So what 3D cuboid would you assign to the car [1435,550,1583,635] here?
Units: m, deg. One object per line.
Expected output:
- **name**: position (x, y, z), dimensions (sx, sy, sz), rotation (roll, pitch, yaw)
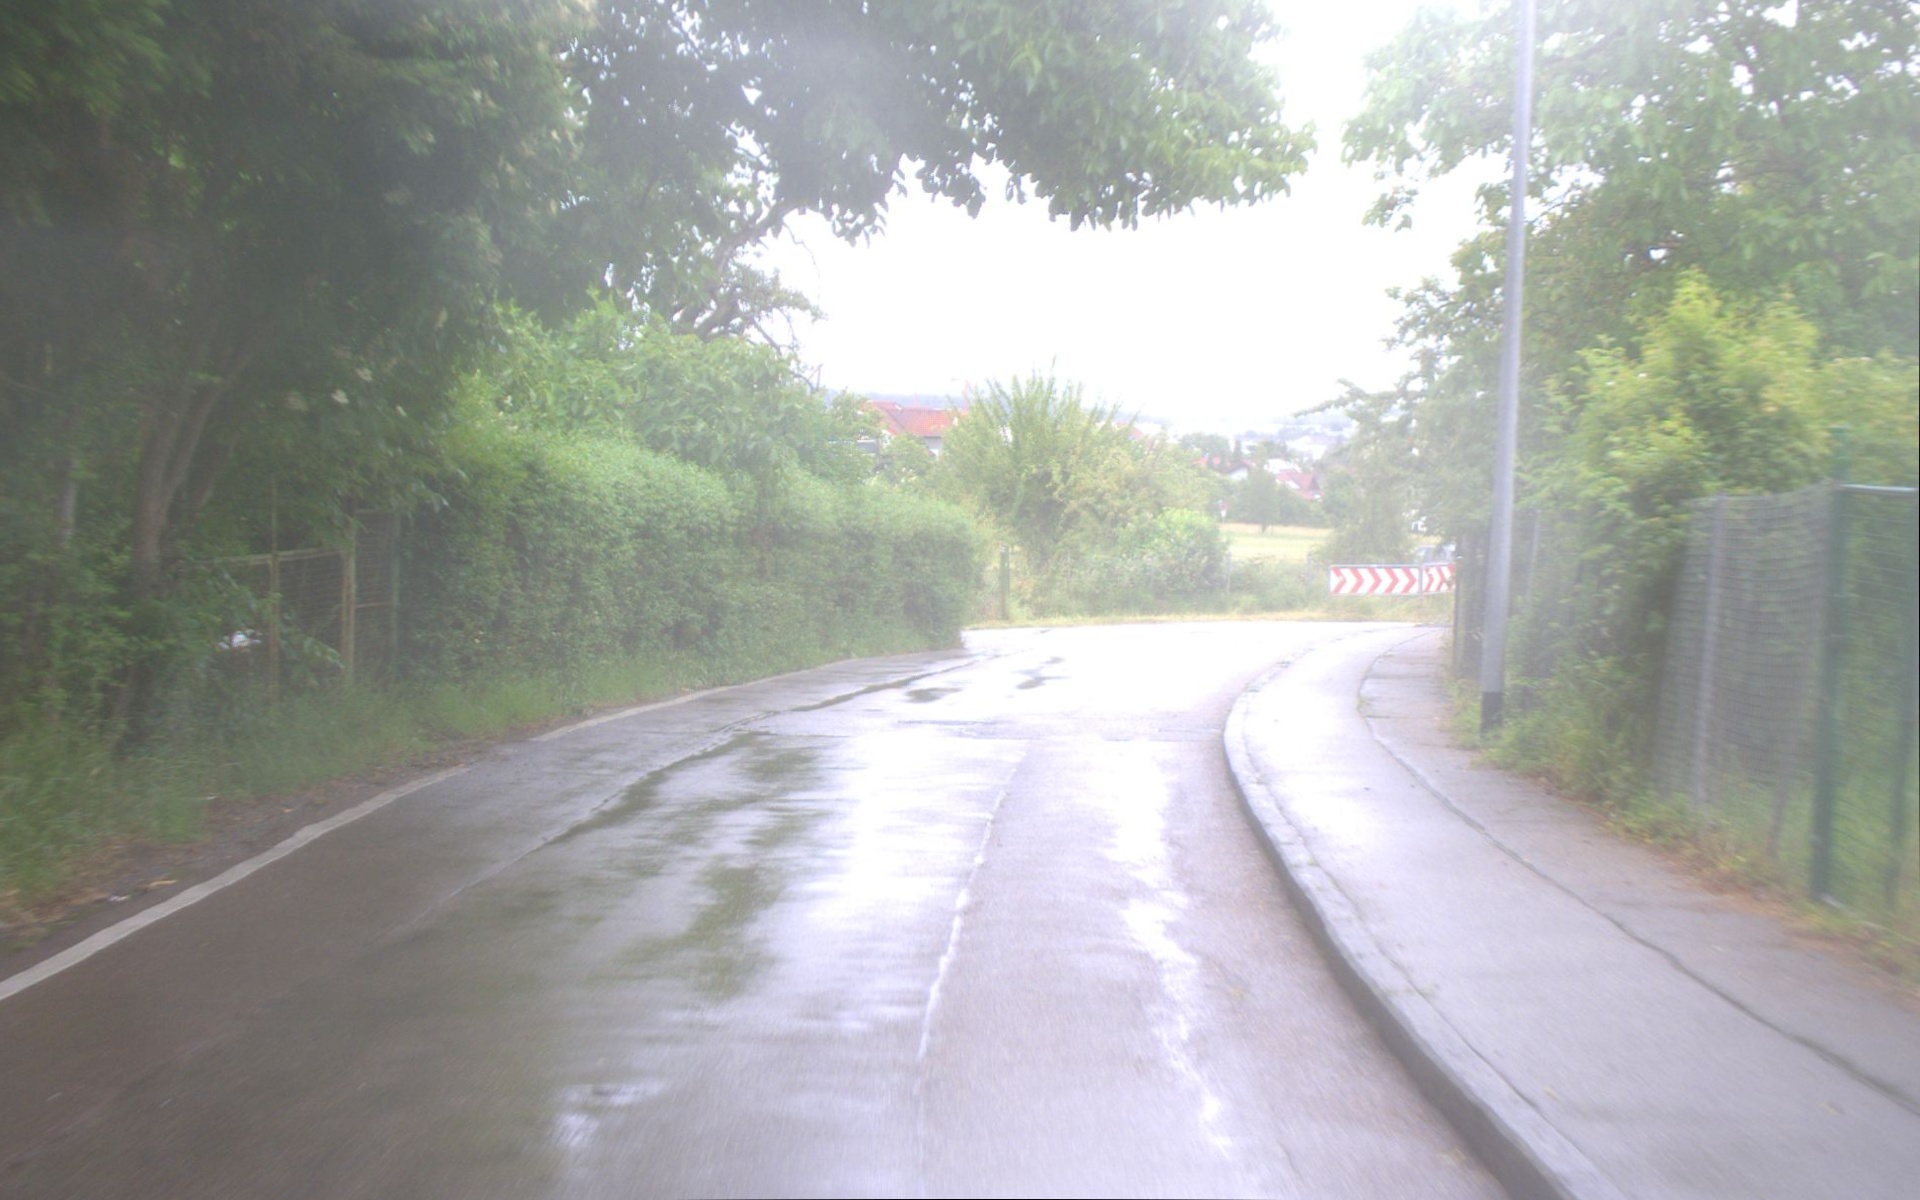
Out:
- **car**: position (10.754, -0.146, 67.182), dimensions (1.817, 1.588, 3.995), rotation (1, 1, 25)
